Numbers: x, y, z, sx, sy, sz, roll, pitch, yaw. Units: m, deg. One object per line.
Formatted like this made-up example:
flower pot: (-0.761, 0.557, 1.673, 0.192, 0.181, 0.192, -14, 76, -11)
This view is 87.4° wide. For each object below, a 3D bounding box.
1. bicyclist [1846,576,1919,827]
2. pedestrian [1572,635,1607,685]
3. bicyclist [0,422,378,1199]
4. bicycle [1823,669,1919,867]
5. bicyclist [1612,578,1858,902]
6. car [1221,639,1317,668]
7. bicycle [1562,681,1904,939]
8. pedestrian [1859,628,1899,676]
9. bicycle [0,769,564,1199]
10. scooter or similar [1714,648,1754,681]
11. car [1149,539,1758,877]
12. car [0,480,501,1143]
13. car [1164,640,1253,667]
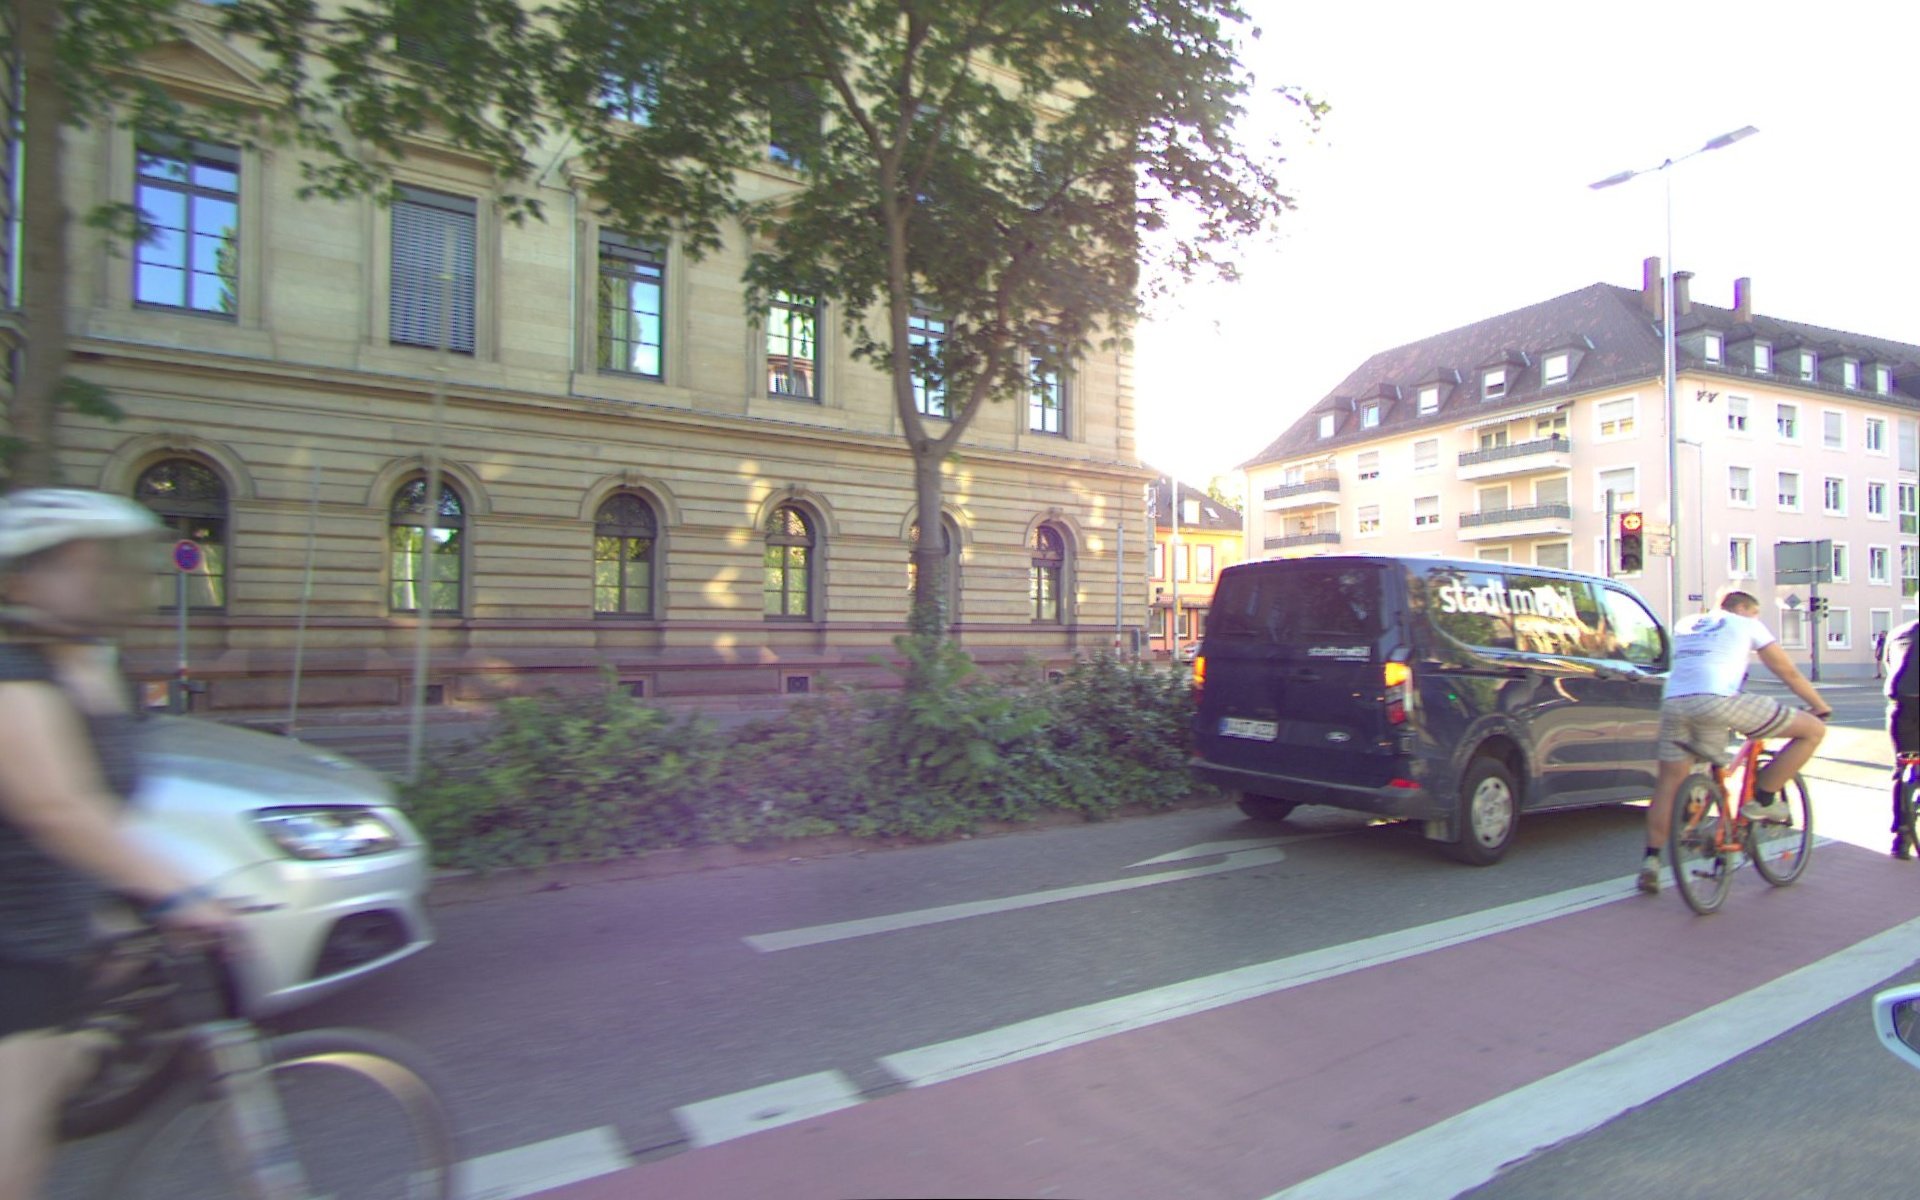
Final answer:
bicyclist: (6.566, 0.666, 6.735, 0.815, 1.629, 0.667, 1, -3, -29)
pedestrian: (20.871, 1.981, 33.302, 0.806, 1.605, 0.630, 1, 0, -23)
bicyclist: (-1.560, 0.581, 1.789, 0.877, 1.674, 0.669, 1, -2, -31)
bicycle: (6.679, 1.068, 6.769, 2.052, 1.170, 0.639, 1, -2, -29)
bicyclist: (4.320, 0.727, 5.628, 0.815, 1.629, 0.799, 1, -3, -29)
car: (16.111, 2.764, 52.379, 4.724, 1.451, 1.987, 1, -3, -27)
bicycle: (4.371, 1.072, 5.655, 1.946, 1.158, 0.825, 1, -2, -29)
pedestrian: (37.544, 2.111, 41.033, 1.000, 1.888, 0.866, 0, 0, -22)
bicycle: (-1.653, 0.931, 1.715, 1.732, 1.087, 0.666, 1, -2, -30)
scooter or similar: (28.990, 2.420, 37.625, 1.452, 1.201, 0.532, 1, -1, -22)
car: (4.061, 0.735, 8.006, 4.978, 1.940, 2.057, 2, -3, -32)
car: (-4.041, 0.580, 2.898, 4.698, 1.772, 1.979, 1, -3, -34)
car: (14.017, 3.016, 56.669, 4.724, 1.451, 1.987, 1, -3, -27)
